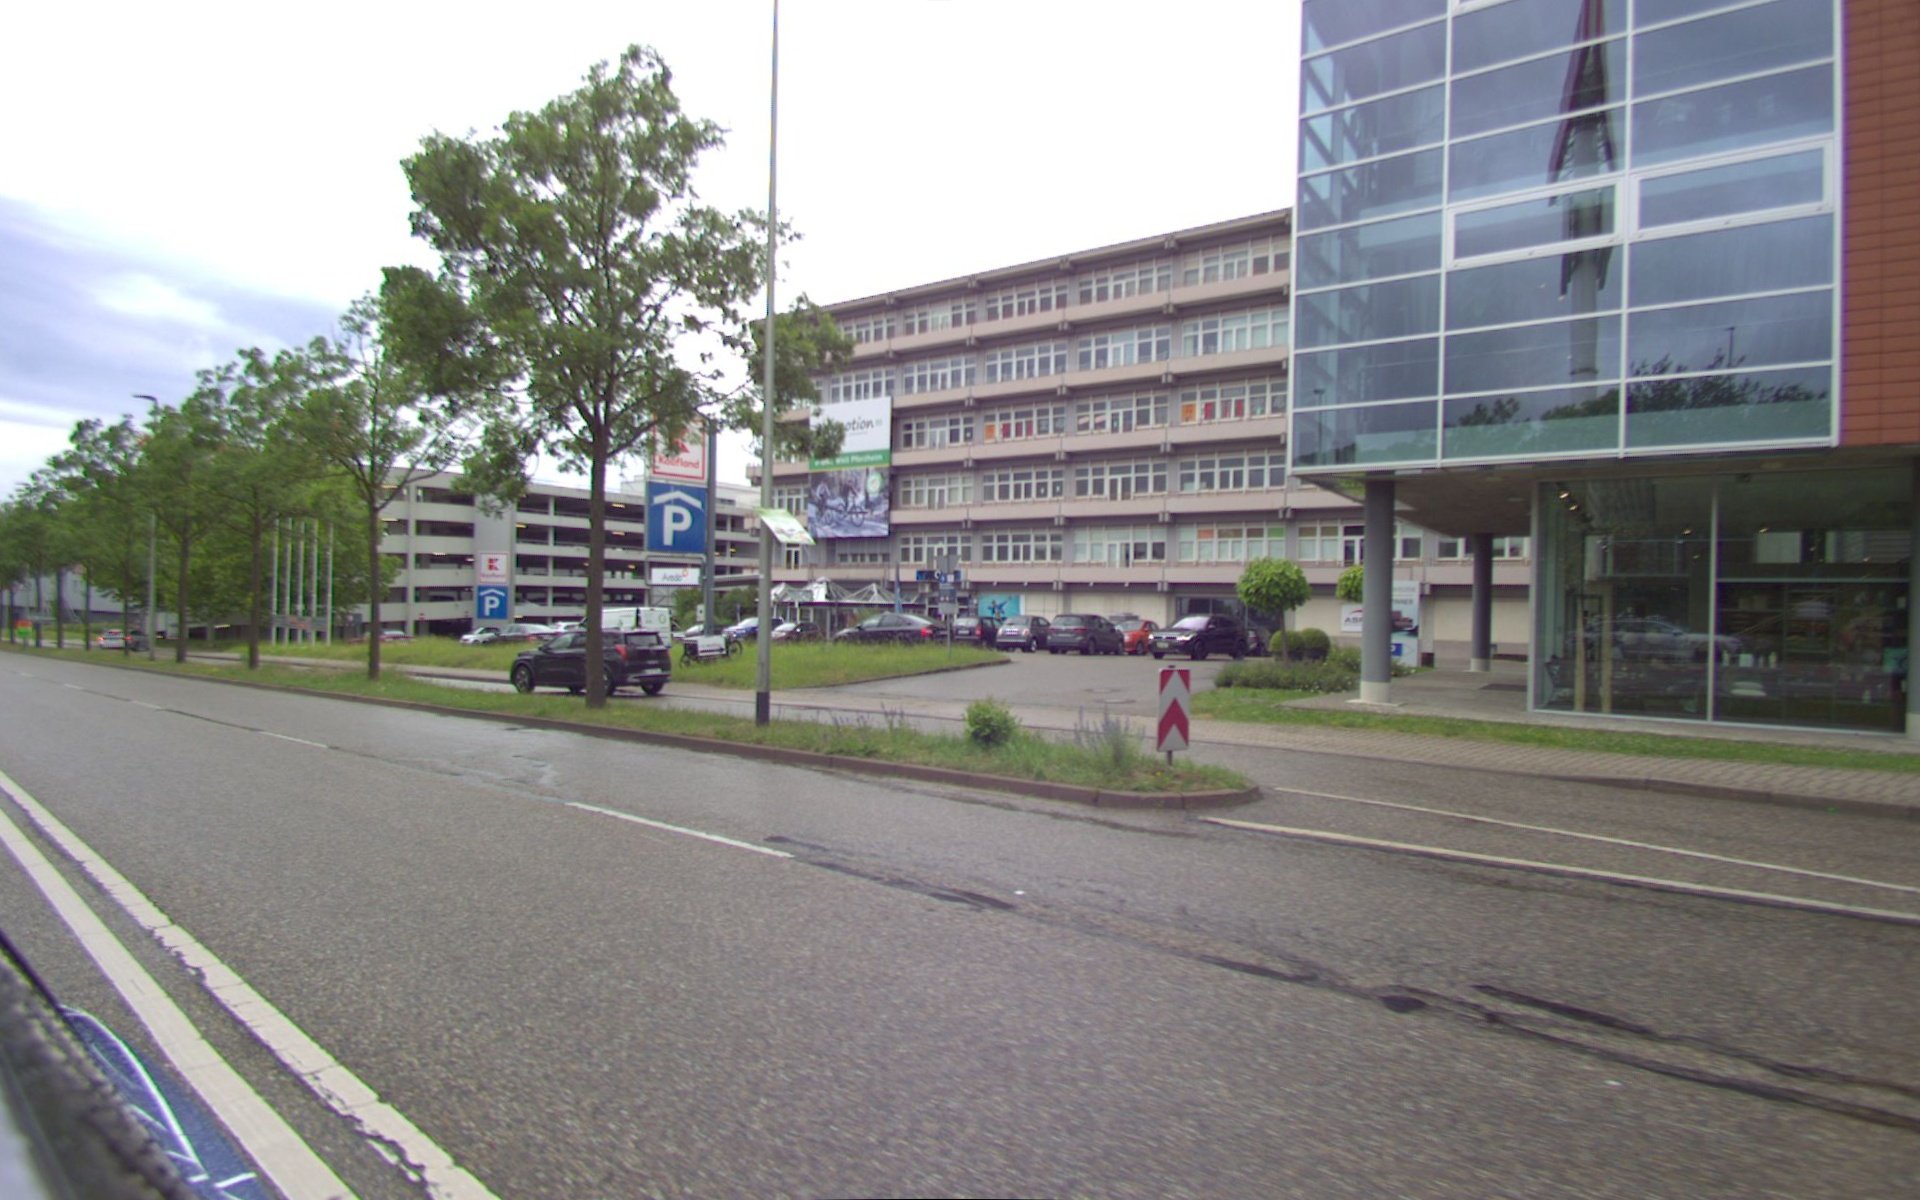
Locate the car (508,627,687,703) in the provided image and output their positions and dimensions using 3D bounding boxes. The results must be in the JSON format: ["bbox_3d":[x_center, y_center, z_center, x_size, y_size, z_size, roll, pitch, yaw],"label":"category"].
[{"bbox_3d":[-8.737,1.528,24.358,3.979,1.630,1.818,-2,-1,27],"label":"car"}]

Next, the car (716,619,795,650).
[{"bbox_3d":[-11.325,1.892,56.226,1.833,1.630,4.008,-2,-2,40],"label":"car"}]

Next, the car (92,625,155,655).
[{"bbox_3d":[-53.183,2.540,64.440,1.819,1.864,4.013,0,-2,-20],"label":"car"}]

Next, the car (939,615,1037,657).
[{"bbox_3d":[1.228,1.486,42.158,1.832,1.630,4.382,-2,-2,38],"label":"car"}]

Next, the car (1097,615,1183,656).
[{"bbox_3d":[7.735,1.506,43.236,1.833,1.630,4.138,-2,-2,40],"label":"car"}]

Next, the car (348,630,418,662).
[{"bbox_3d":[-30.424,2.380,53.313,4.057,1.630,1.811,-2,-2,38],"label":"car"}]

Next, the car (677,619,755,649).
[{"bbox_3d":[-13.873,1.932,57.655,1.833,1.630,4.008,-2,-2,40],"label":"car"}]

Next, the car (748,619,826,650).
[{"bbox_3d":[-9.373,1.864,55.067,1.833,1.630,4.008,-2,-2,40],"label":"car"}]

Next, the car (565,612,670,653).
[{"bbox_3d":[-14.260,1.336,42.019,4.426,1.630,1.813,-1,-2,33],"label":"car"}]

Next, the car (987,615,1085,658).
[{"bbox_3d":[3.101,1.459,40.571,1.832,1.630,4.382,-2,-2,38],"label":"car"}]

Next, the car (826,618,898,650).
[{"bbox_3d":[-5.041,1.752,52.565,1.677,1.611,3.955,-1,-2,33],"label":"car"}]

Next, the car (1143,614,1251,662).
[{"bbox_3d":[8.555,1.334,36.320,1.834,1.630,4.376,-2,-2,43],"label":"car"}]

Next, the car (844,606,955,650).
[{"bbox_3d":[-1.944,0.870,32.014,3.448,1.293,1.490,-1,0,41],"label":"car"}]

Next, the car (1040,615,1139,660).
[{"bbox_3d":[5.039,1.412,39.006,1.832,1.630,4.382,-2,-2,38],"label":"car"}]

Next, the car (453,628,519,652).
[{"bbox_3d":[-34.382,2.884,73.479,1.831,1.630,4.012,-2,-2,37],"label":"car"}]

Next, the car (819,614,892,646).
[{"bbox_3d":[-4.792,1.367,46.272,3.497,1.433,1.420,-2,-2,44],"label":"car"}]
